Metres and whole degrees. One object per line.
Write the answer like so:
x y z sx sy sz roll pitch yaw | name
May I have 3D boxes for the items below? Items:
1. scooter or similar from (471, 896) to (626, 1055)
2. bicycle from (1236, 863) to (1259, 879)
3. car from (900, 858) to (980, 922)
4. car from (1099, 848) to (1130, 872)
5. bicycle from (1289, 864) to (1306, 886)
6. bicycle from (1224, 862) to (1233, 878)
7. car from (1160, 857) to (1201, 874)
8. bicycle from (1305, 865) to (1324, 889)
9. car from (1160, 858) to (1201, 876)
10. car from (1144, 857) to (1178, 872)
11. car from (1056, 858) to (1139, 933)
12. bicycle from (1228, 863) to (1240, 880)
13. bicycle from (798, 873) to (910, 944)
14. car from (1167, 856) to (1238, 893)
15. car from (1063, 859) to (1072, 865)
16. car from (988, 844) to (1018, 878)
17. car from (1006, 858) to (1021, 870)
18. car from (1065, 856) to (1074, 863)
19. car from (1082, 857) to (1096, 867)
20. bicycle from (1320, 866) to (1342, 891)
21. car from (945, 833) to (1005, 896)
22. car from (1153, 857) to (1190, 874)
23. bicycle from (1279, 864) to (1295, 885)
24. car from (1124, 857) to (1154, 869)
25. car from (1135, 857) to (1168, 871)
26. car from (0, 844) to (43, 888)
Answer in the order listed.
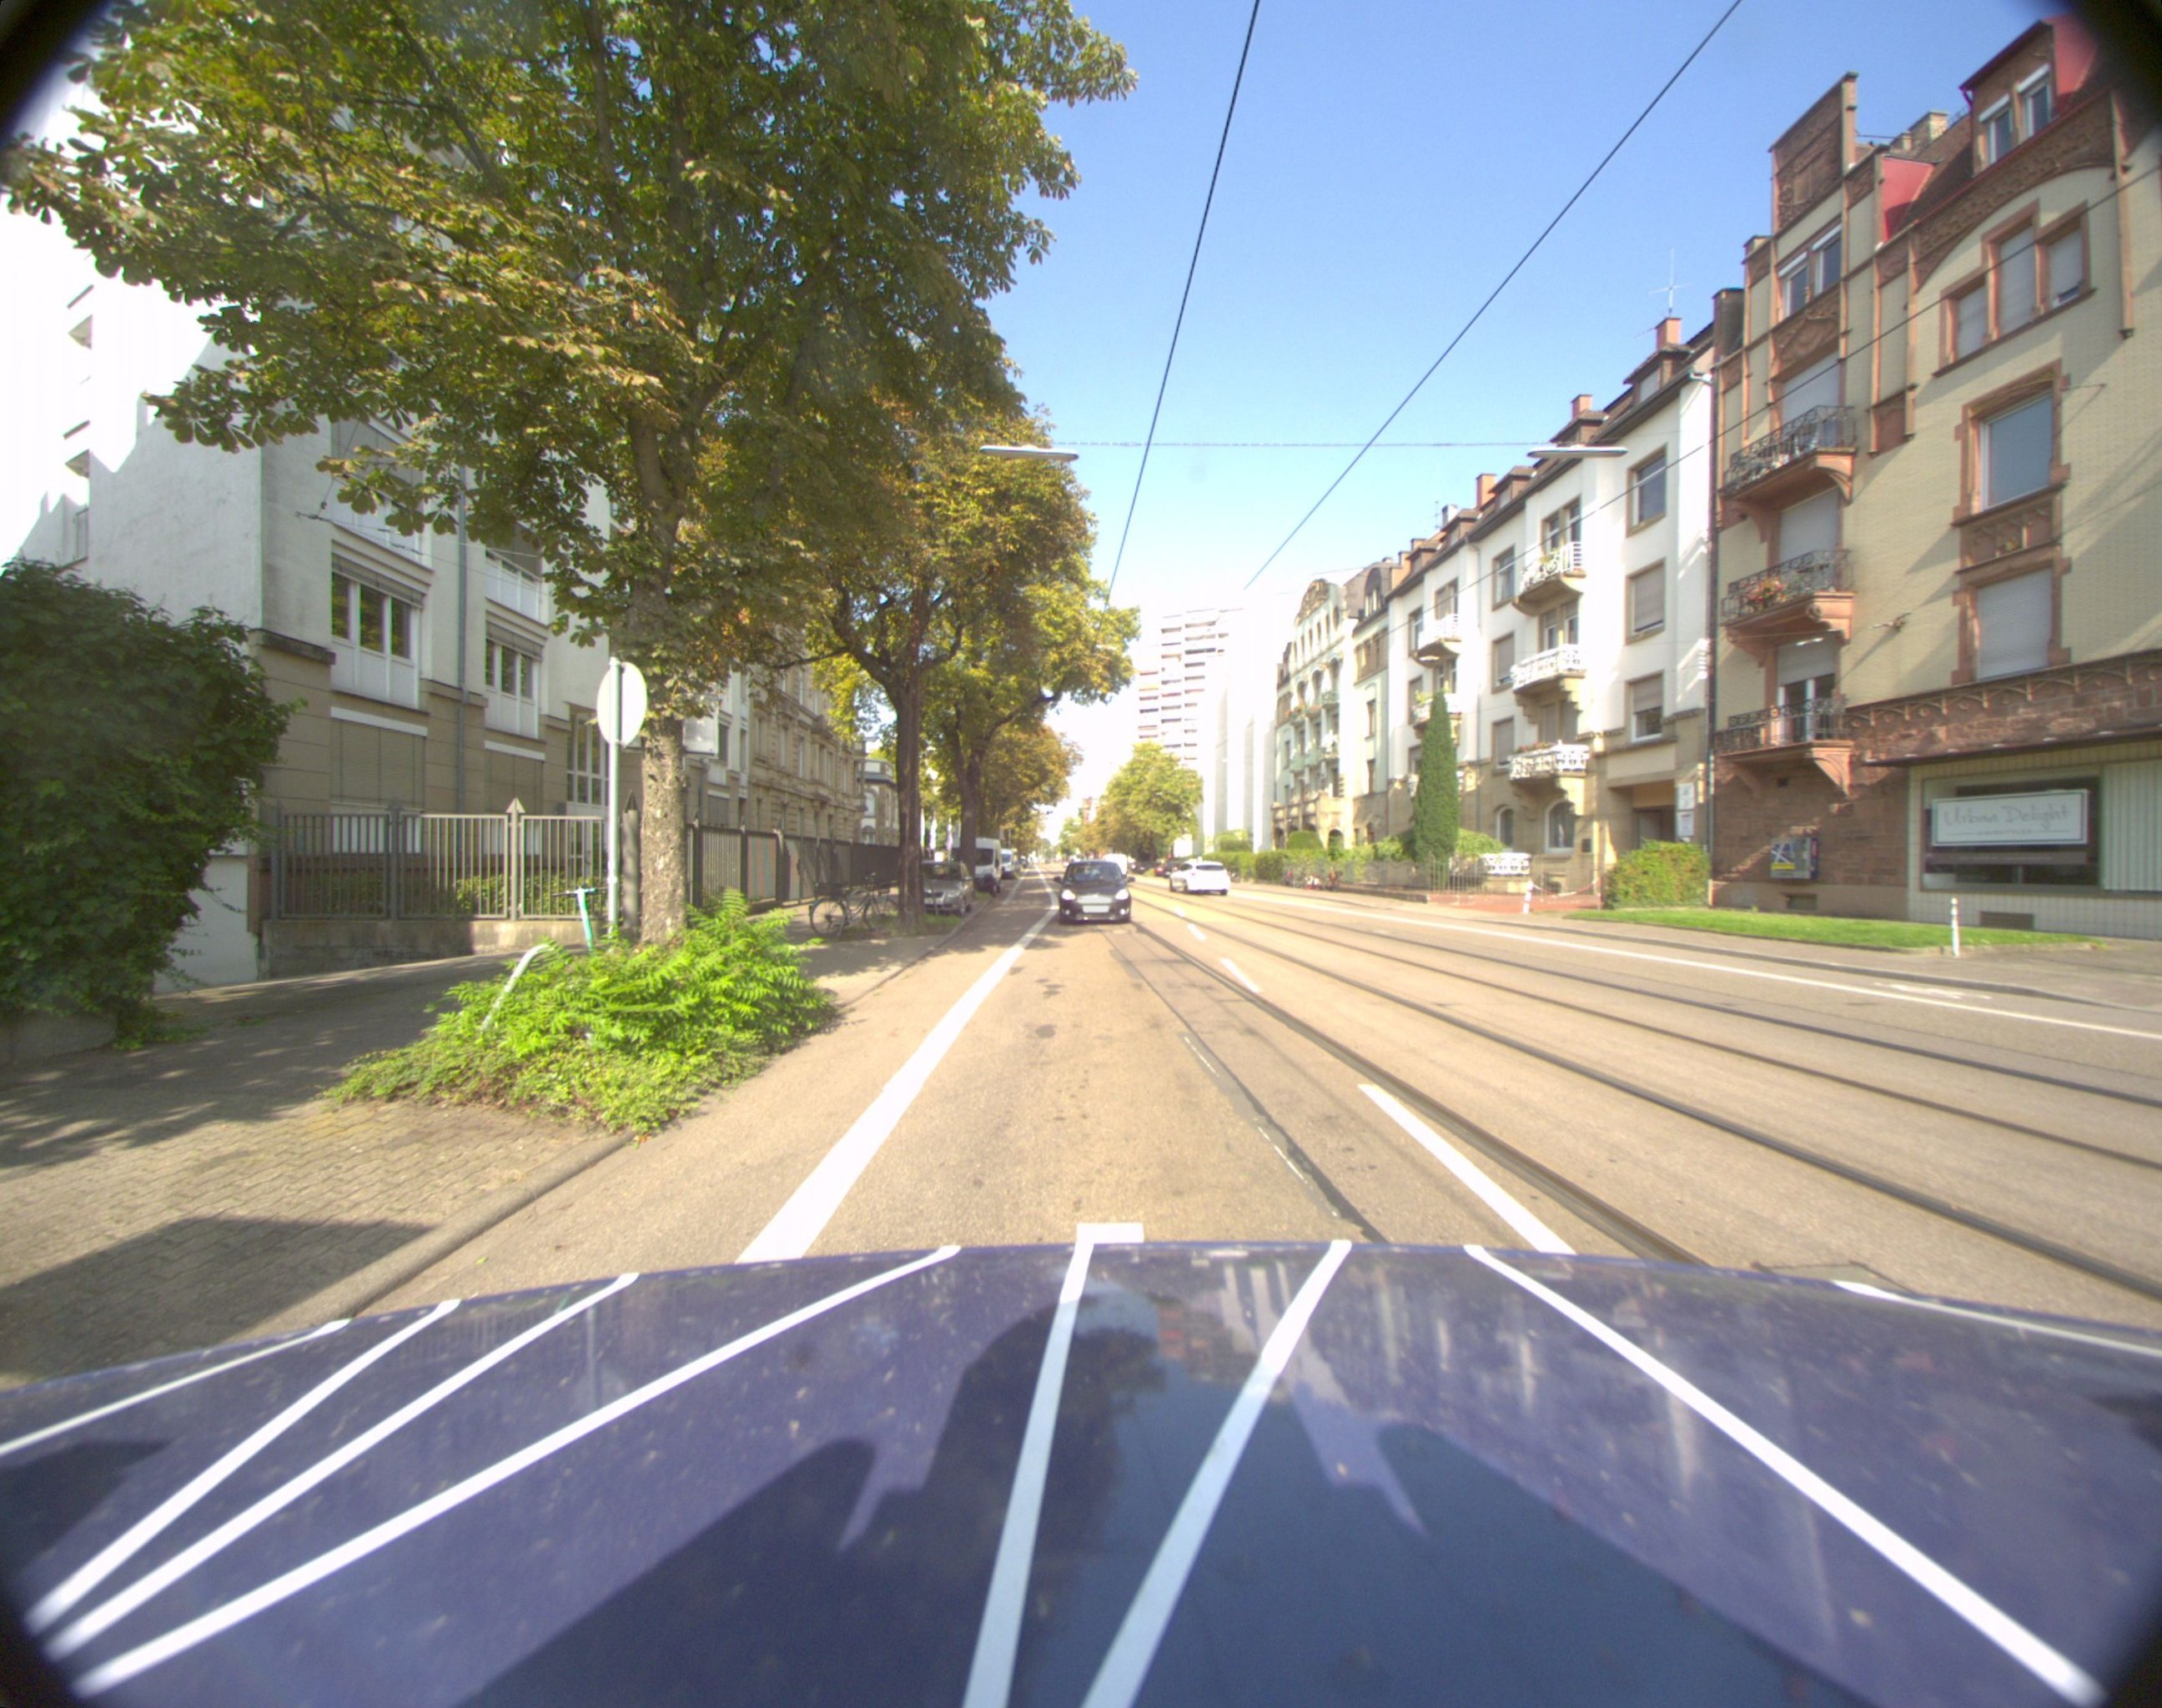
-4.630 1.014 6.678 0.559 1.190 1.034 4 1 2 | scooter or similar
10.765 1.099 49.161 1.397 1.081 0.425 1 0 -21 | bicycle
-3.895 0.929 21.621 1.611 1.515 4.356 3 0 -3 | car
2.868 0.511 66.087 2.000 2.002 4.856 1 0 -6 | car
10.944 1.063 38.376 0.371 1.081 1.354 0 0 -4 | bicycle
10.120 1.117 52.230 0.425 1.081 1.677 1 0 6 | bicycle
9.316 1.100 70.927 1.767 1.518 4.009 1 0 43 | car
10.932 1.062 35.613 0.371 1.081 1.354 0 0 -4 | bicycle
8.835 1.127 67.106 1.767 1.518 4.009 1 0 38 | car
8.576 1.127 81.207 1.767 1.518 4.009 1 0 38 | car
0.271 0.874 18.110 1.611 1.515 4.356 -1 0 -3 | car
10.089 1.127 50.129 0.425 1.081 1.676 1 0 1 | bicycle
-4.127 0.982 13.909 1.847 1.160 0.503 3 4 -43 | bicycle
5.261 0.848 33.498 1.878 1.446 4.542 3 0 -6 | car
-2.968 1.692 167.524 1.758 1.349 3.786 1 0 -4 | car
-6.118 0.539 60.262 1.999 2.526 5.866 2 0 -3 | car
-7.853 1.192 88.555 1.758 1.349 3.786 1 0 -4 | car
-2.295 1.114 151.010 1.757 1.349 3.787 1 0 -2 | car
1.121 1.150 111.007 1.701 1.395 4.644 -1 0 -4 | car
11.120 1.067 33.847 0.371 1.081 1.487 0 0 -4 | bicycle
-4.526 0.422 33.337 2.052 2.484 6.227 1 0 -3 | car
8.808 1.106 73.745 1.767 1.518 4.009 1 0 38 | car
10.894 1.076 40.146 0.371 1.081 1.354 0 0 -4 | bicycle
7.101 1.083 92.843 1.767 1.518 4.009 1 0 38 | car
7.844 1.102 84.023 1.767 1.518 4.009 1 0 38 | car
-40.277 0.424 27.734 3.990 1.557 1.839 0 0 21 | car
